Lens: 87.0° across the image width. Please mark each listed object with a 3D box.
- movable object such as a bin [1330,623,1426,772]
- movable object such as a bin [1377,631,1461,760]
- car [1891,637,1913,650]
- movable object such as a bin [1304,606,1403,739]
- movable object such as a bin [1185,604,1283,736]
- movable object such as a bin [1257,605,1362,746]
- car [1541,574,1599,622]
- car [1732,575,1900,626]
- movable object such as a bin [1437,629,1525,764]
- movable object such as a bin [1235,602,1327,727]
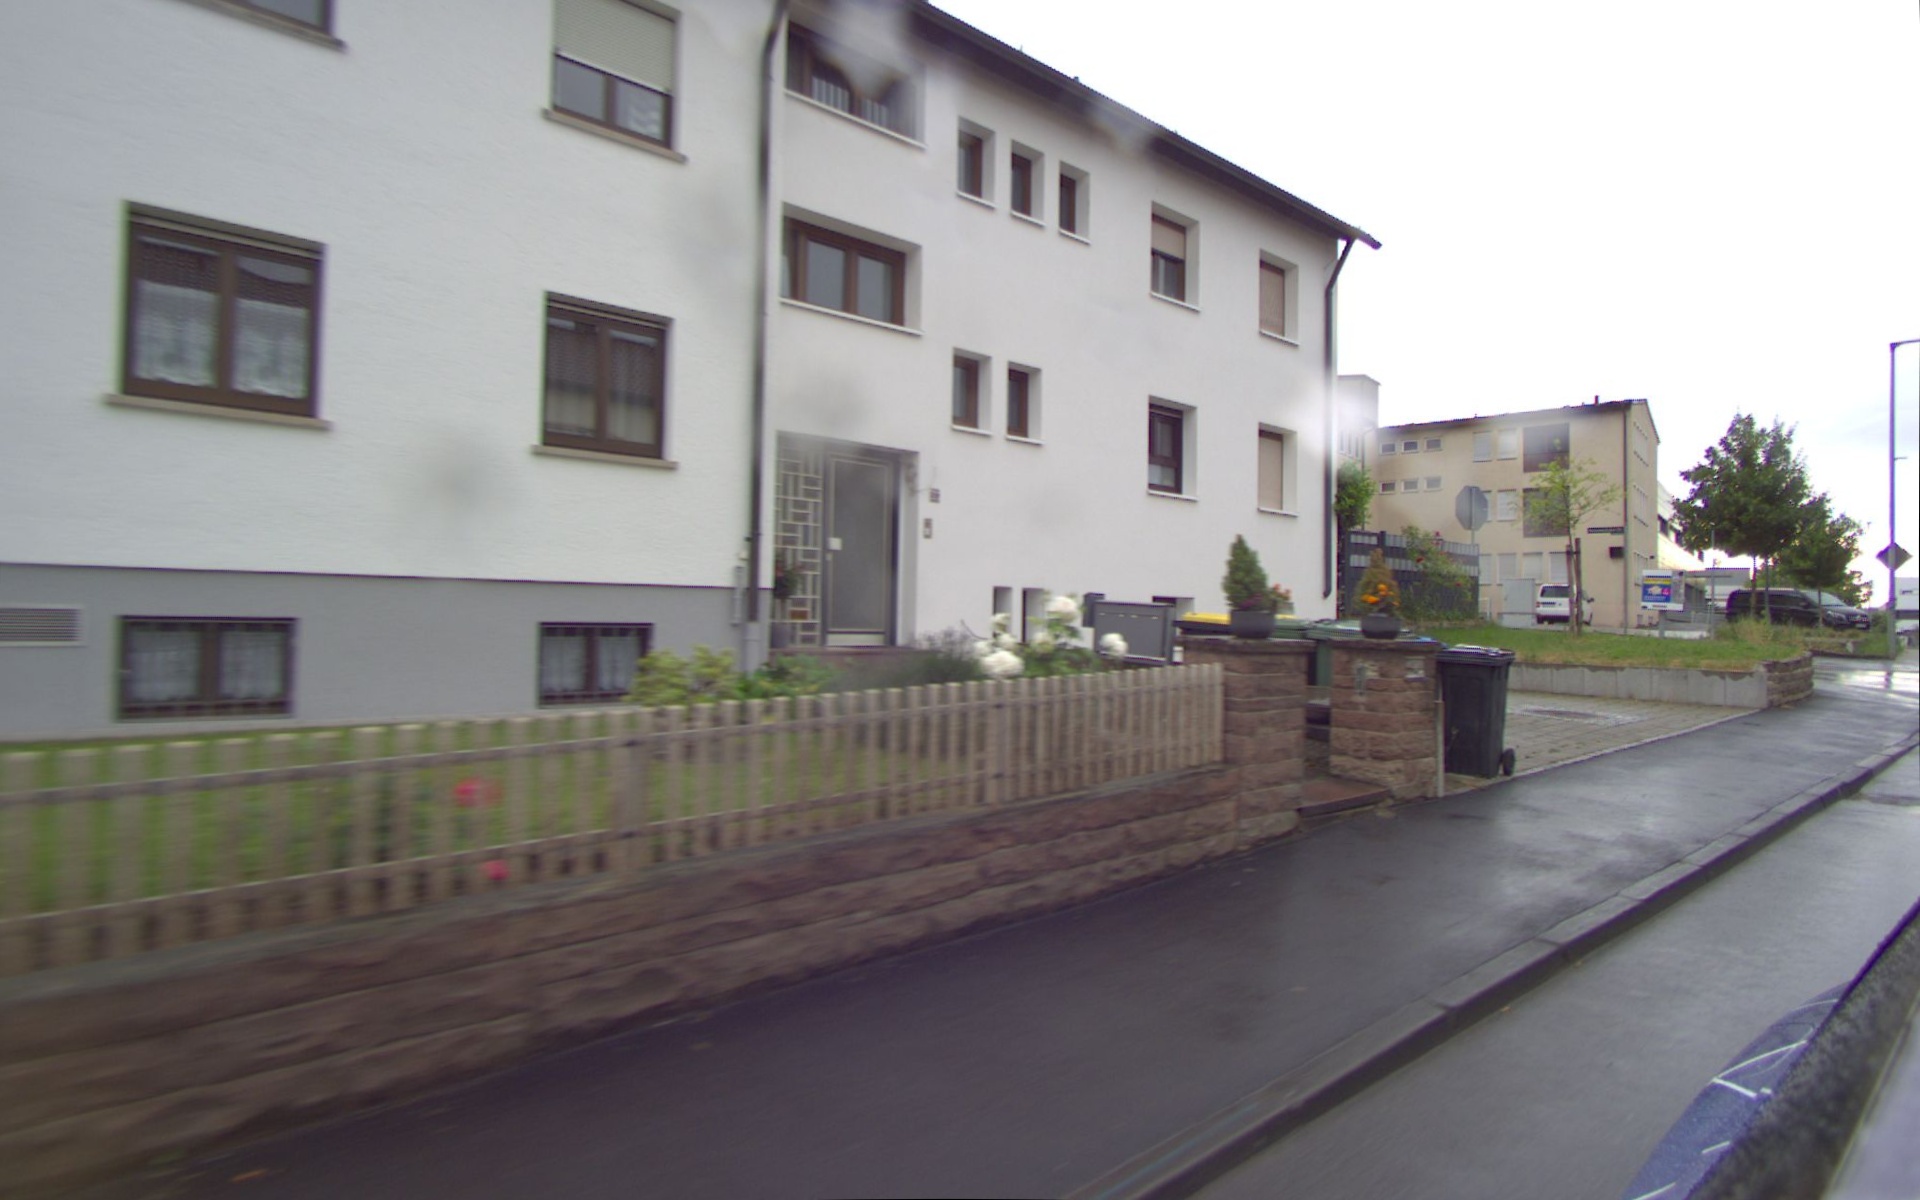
[{"bbox_3d":[3.070,0.697,7.432,0.621,1.041,0.425,4,-4,-42],"label":"movable object such as a bin"},{"bbox_3d":[3.558,0.726,7.849,0.499,0.953,0.425,4,-4,-42],"label":"movable object such as a bin"},{"bbox_3d":[120.846,5.602,129.850,1.849,1.575,4.433,-1,-4,41],"label":"car"},{"bbox_3d":[3.247,0.586,8.359,0.621,1.041,0.545,4,-4,-42],"label":"movable object such as a bin"},{"bbox_3d":[2.278,0.569,8.410,0.621,1.041,0.545,4,-4,-42],"label":"movable object such as a bin"},{"bbox_3d":[2.726,0.577,7.897,0.621,1.041,0.545,4,-4,-42],"label":"movable object such as a bin"},{"bbox_3d":[29.482,-0.046,48.879,1.790,2.040,4.534,-1,-4,39],"label":"car"},{"bbox_3d":[35.160,-0.029,41.776,2.011,1.943,5.125,2,1,-10],"label":"car"},{"bbox_3d":[3.853,0.699,7.485,0.499,0.953,0.425,4,-4,-42],"label":"movable object such as a bin"},{"bbox_3d":[2.807,0.559,8.858,0.621,1.041,0.529,4,-4,-42],"label":"movable object such as a bin"}]
